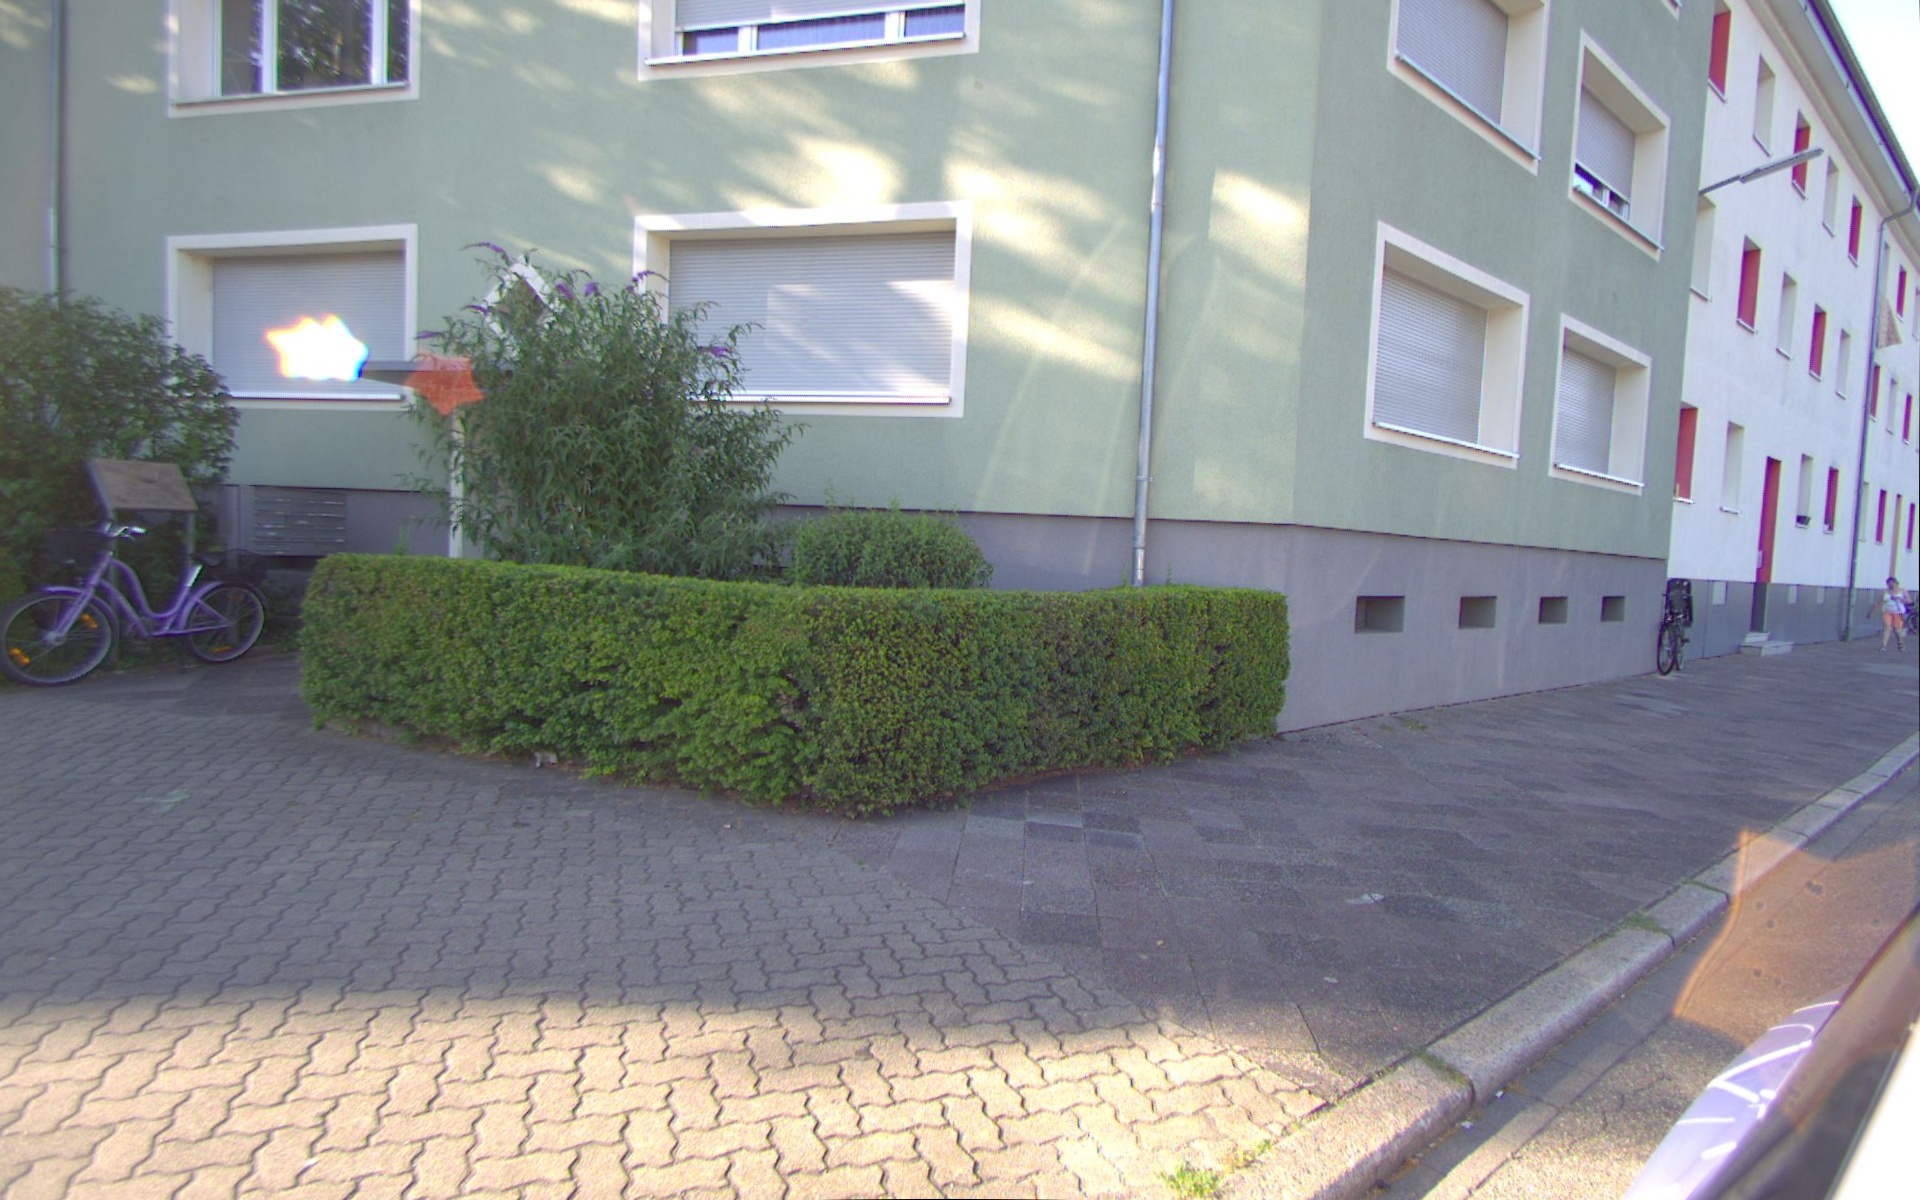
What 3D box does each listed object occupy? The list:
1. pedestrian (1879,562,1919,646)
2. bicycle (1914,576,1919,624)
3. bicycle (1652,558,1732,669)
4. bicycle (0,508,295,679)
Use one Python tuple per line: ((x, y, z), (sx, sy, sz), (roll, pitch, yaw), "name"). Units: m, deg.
((20.476, 0.076, 21.793), (0.933, 1.727, 0.787), (0, 4, -41), "pedestrian")
((29.437, 0.008, 30.737), (1.843, 1.429, 0.517), (-1, 4, -44), "bicycle")
((10.138, 0.158, 13.988), (1.843, 1.429, 0.517), (-1, 4, -44), "bicycle")
((-5.905, -0.088, 7.287), (0.515, 1.069, 1.920), (3, 3, 22), "bicycle")
